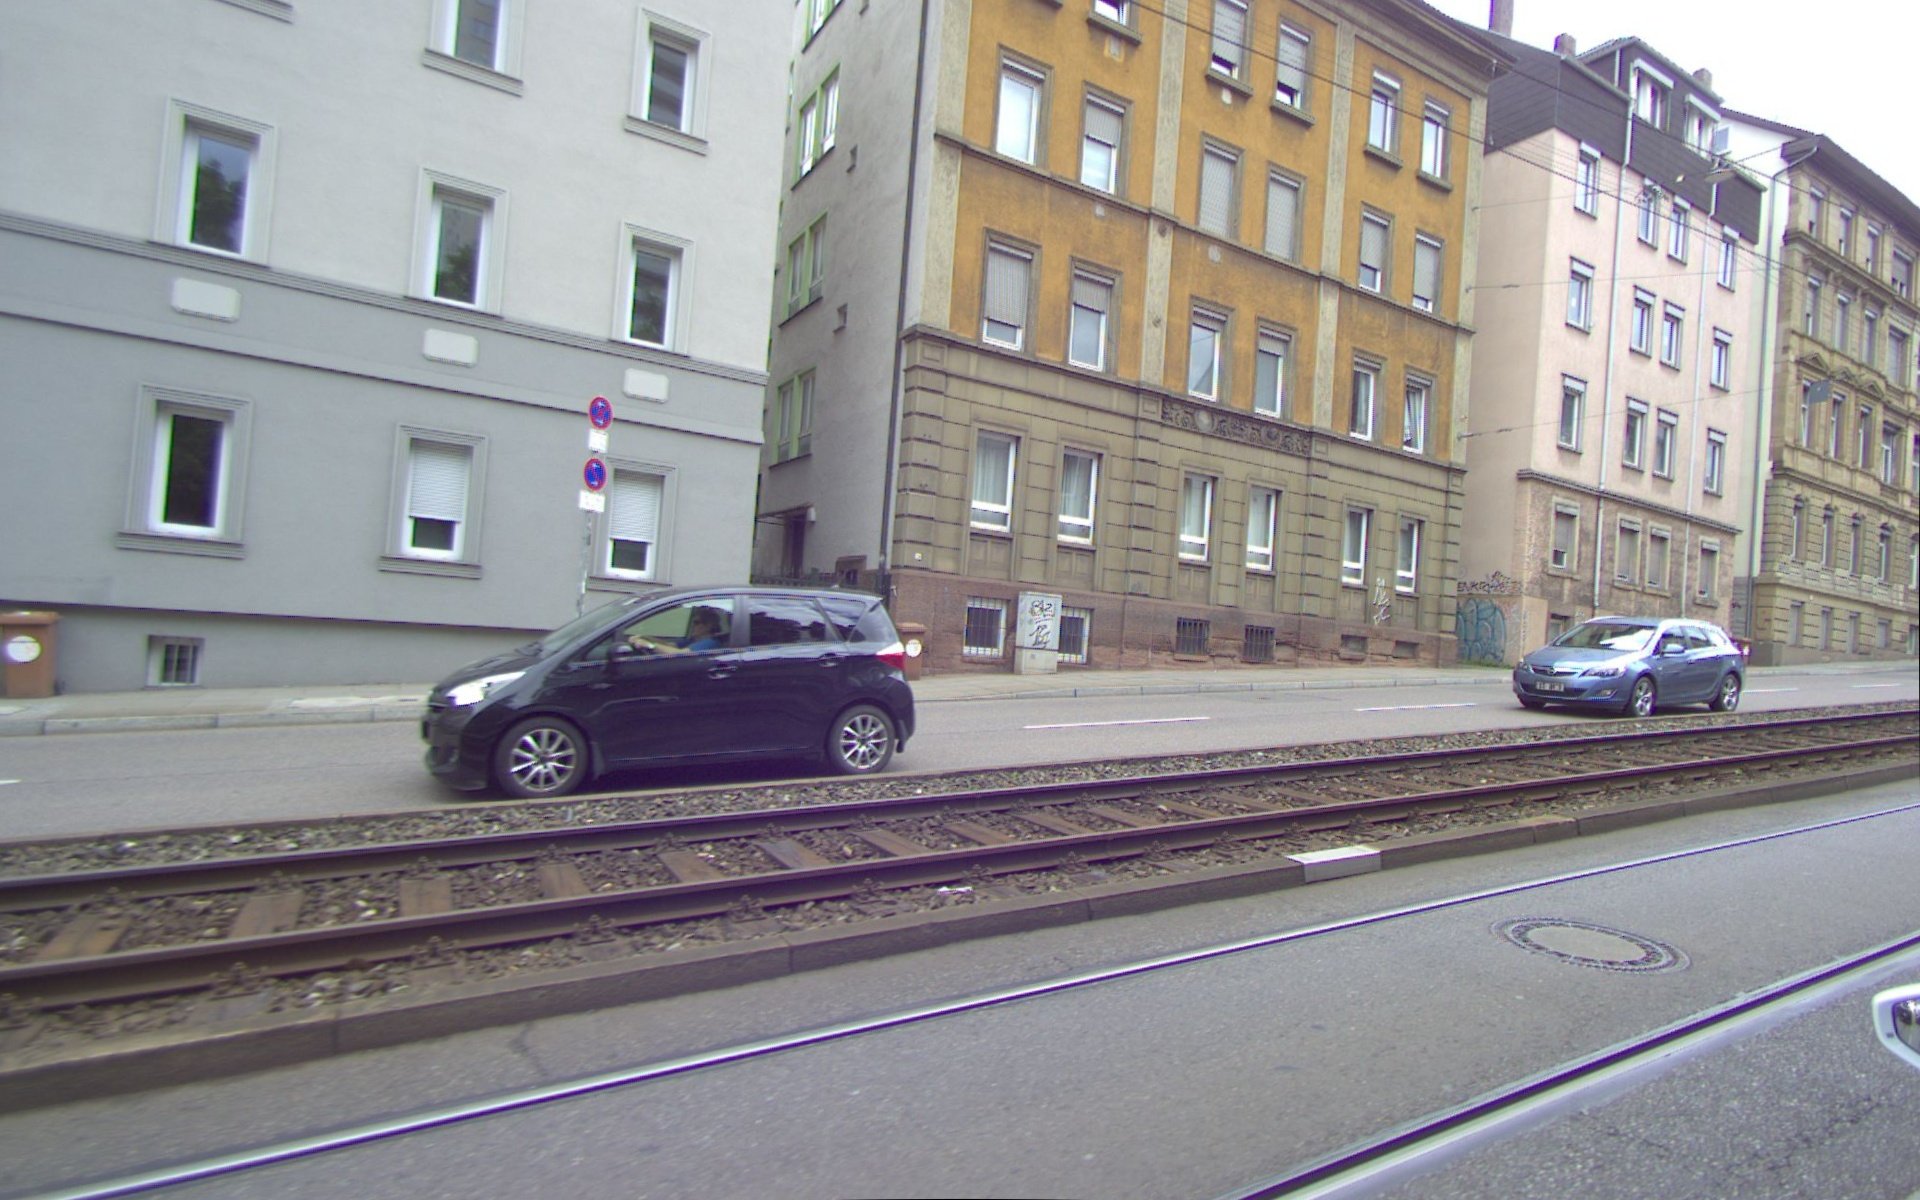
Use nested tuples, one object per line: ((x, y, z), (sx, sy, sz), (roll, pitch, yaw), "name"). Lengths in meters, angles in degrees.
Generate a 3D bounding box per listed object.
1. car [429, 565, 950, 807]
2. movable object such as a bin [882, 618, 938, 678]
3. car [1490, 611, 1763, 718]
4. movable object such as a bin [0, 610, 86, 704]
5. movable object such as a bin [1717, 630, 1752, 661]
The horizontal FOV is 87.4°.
((-2.214, 0.603, 8.456), (3.922, 1.617, 1.735), (1, 0, -30), "car")
((-0.835, 0.788, 16.789), (0.645, 0.960, 0.775), (1, 0, -29), "movable object such as a bin")
((10.770, 0.959, 16.156), (4.606, 1.474, 1.834), (1, 0, -30), "car")
((-10.201, 0.616, 11.117), (0.668, 0.998, 0.619), (1, 0, -30), "movable object such as a bin")
((24.454, 1.437, 31.720), (0.668, 0.923, 0.626), (1, 4, -30), "movable object such as a bin")
